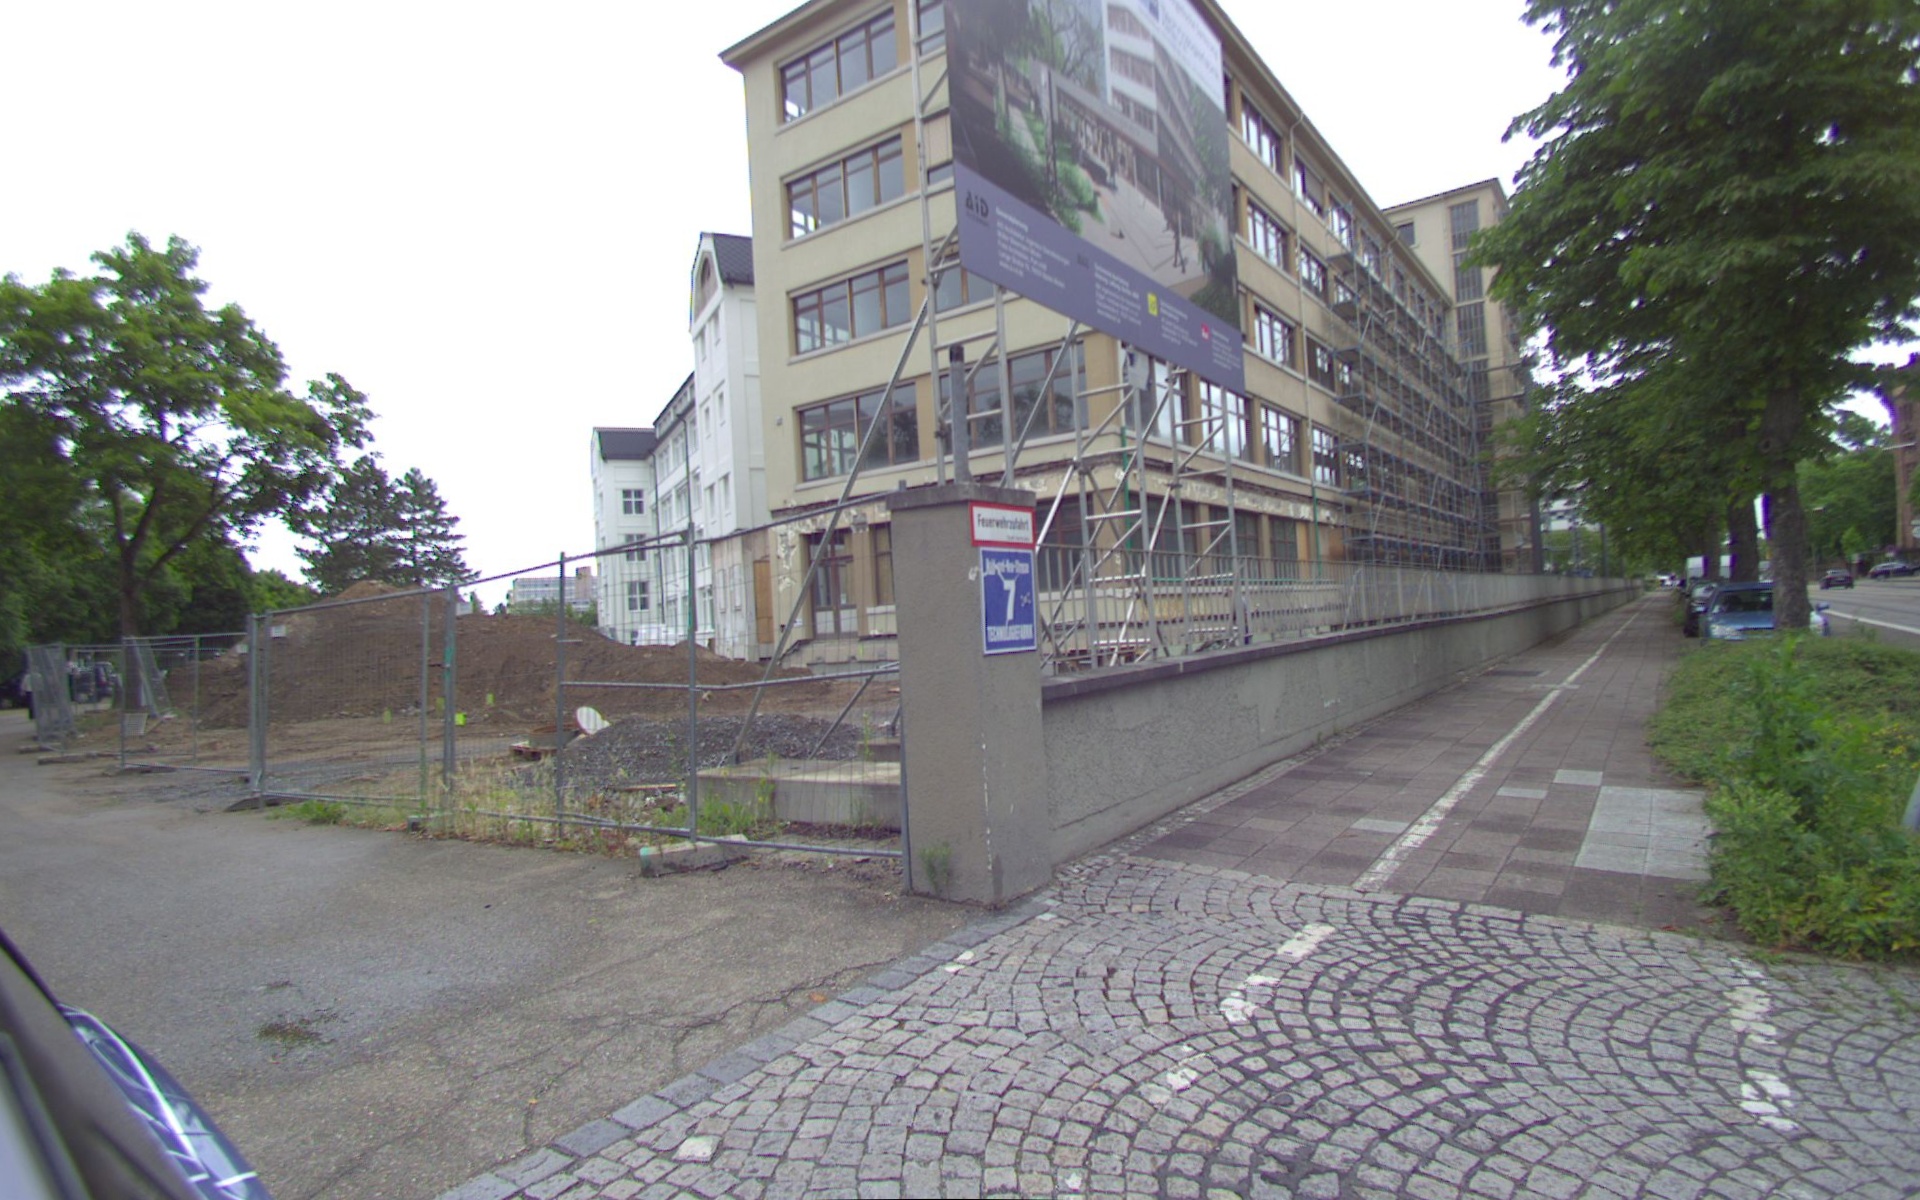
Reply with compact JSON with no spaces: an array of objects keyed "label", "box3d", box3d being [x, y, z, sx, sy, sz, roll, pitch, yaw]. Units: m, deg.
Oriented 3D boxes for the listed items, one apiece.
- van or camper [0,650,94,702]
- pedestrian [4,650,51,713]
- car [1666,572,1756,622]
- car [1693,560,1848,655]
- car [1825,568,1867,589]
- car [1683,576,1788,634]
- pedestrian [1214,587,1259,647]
[{"label":"van or camper","box3d":[-44.969,3.663,48.837,4.423,2.275,2.006,-2,-2,-26]},{"label":"pedestrian","box3d":[-27.621,2.411,29.990,0.656,1.795,0.748,-4,-2,13]},{"label":"car","box3d":[22.802,-0.095,30.824,1.996,1.320,3.952,-5,-2,36]},{"label":"car","box3d":[14.302,0.122,18.069,1.829,1.429,3.952,-4,-2,35]},{"label":"car","box3d":[69.757,-1.696,79.722,1.818,1.501,4.207,-4,-2,33]},{"label":"car","box3d":[20.512,0.120,26.933,1.996,1.320,3.952,-5,-2,36]},{"label":"pedestrian","box3d":[7.057,0.435,25.816,0.975,1.448,0.925,-3,-2,19]}]
